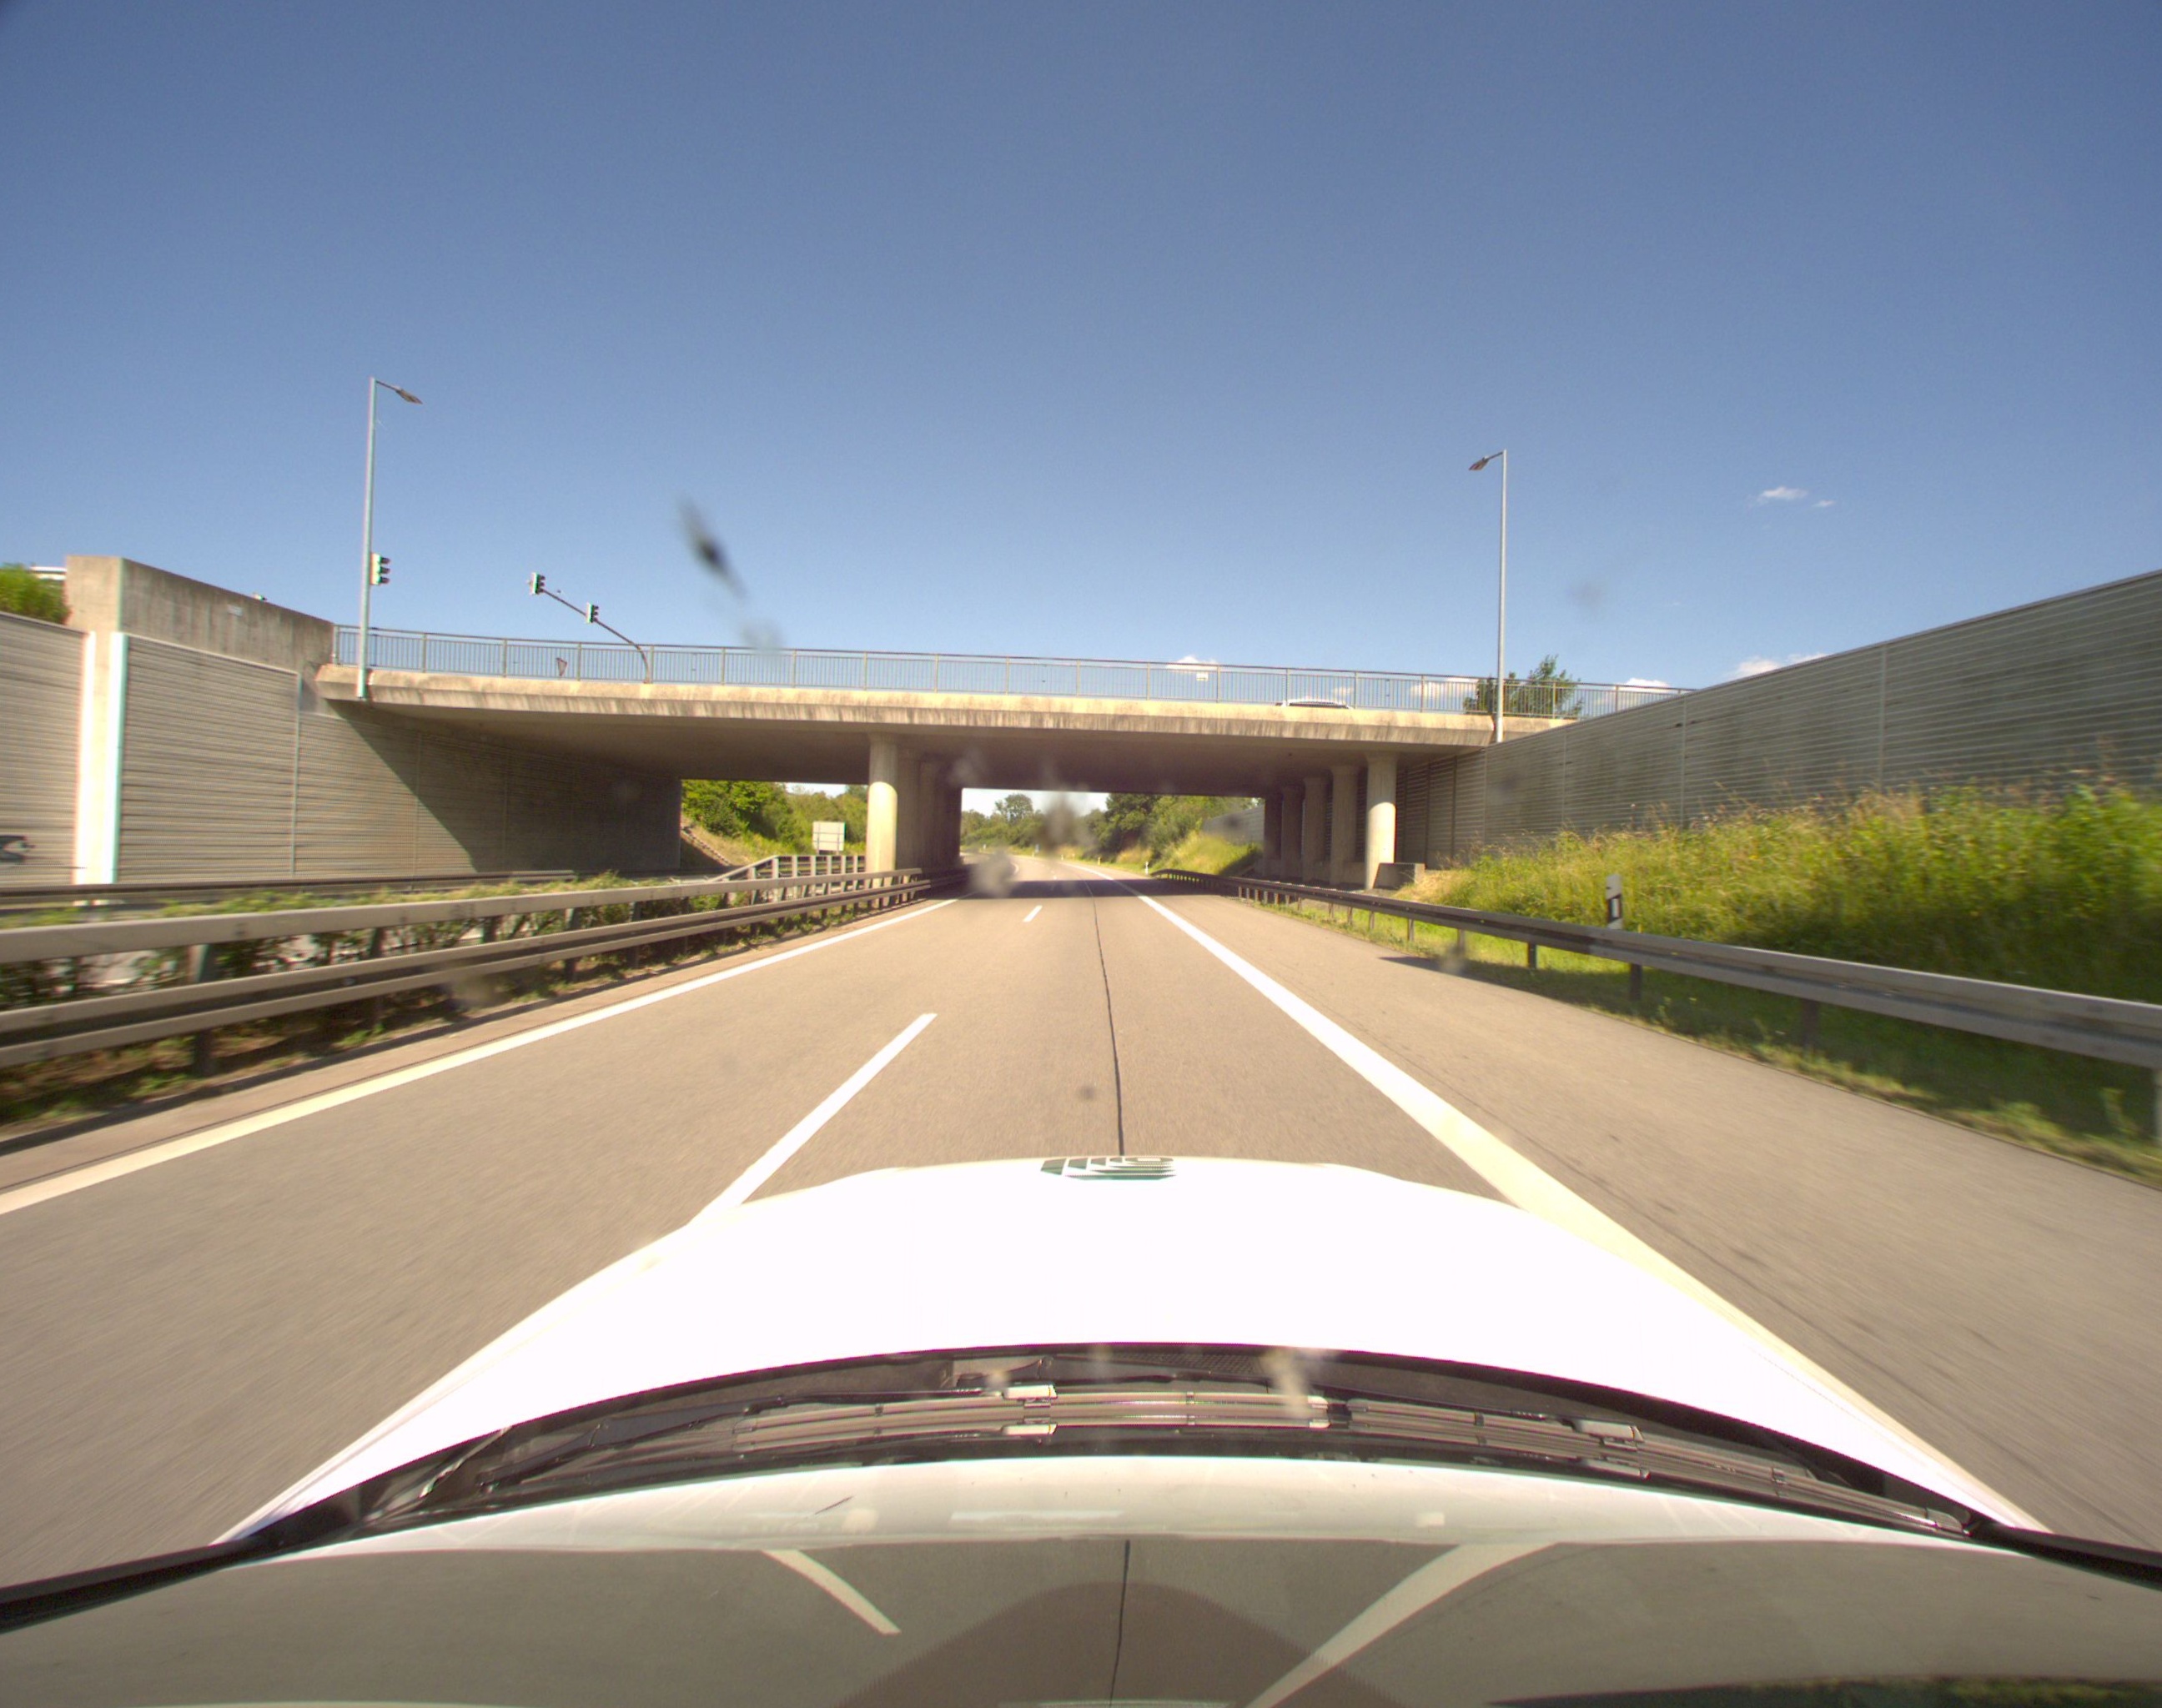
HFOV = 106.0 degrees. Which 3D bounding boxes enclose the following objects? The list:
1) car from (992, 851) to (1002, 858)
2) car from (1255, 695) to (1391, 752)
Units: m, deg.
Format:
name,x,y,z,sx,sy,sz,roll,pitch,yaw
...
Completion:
name,x,y,z,sx,sy,sz,roll,pitch,yaw
car,-21.891,0.163,212.088,2.064,1.625,3.982,0,-1,-13
car,8.835,-4.788,30.017,4.387,1.597,1.999,2,-1,-1
